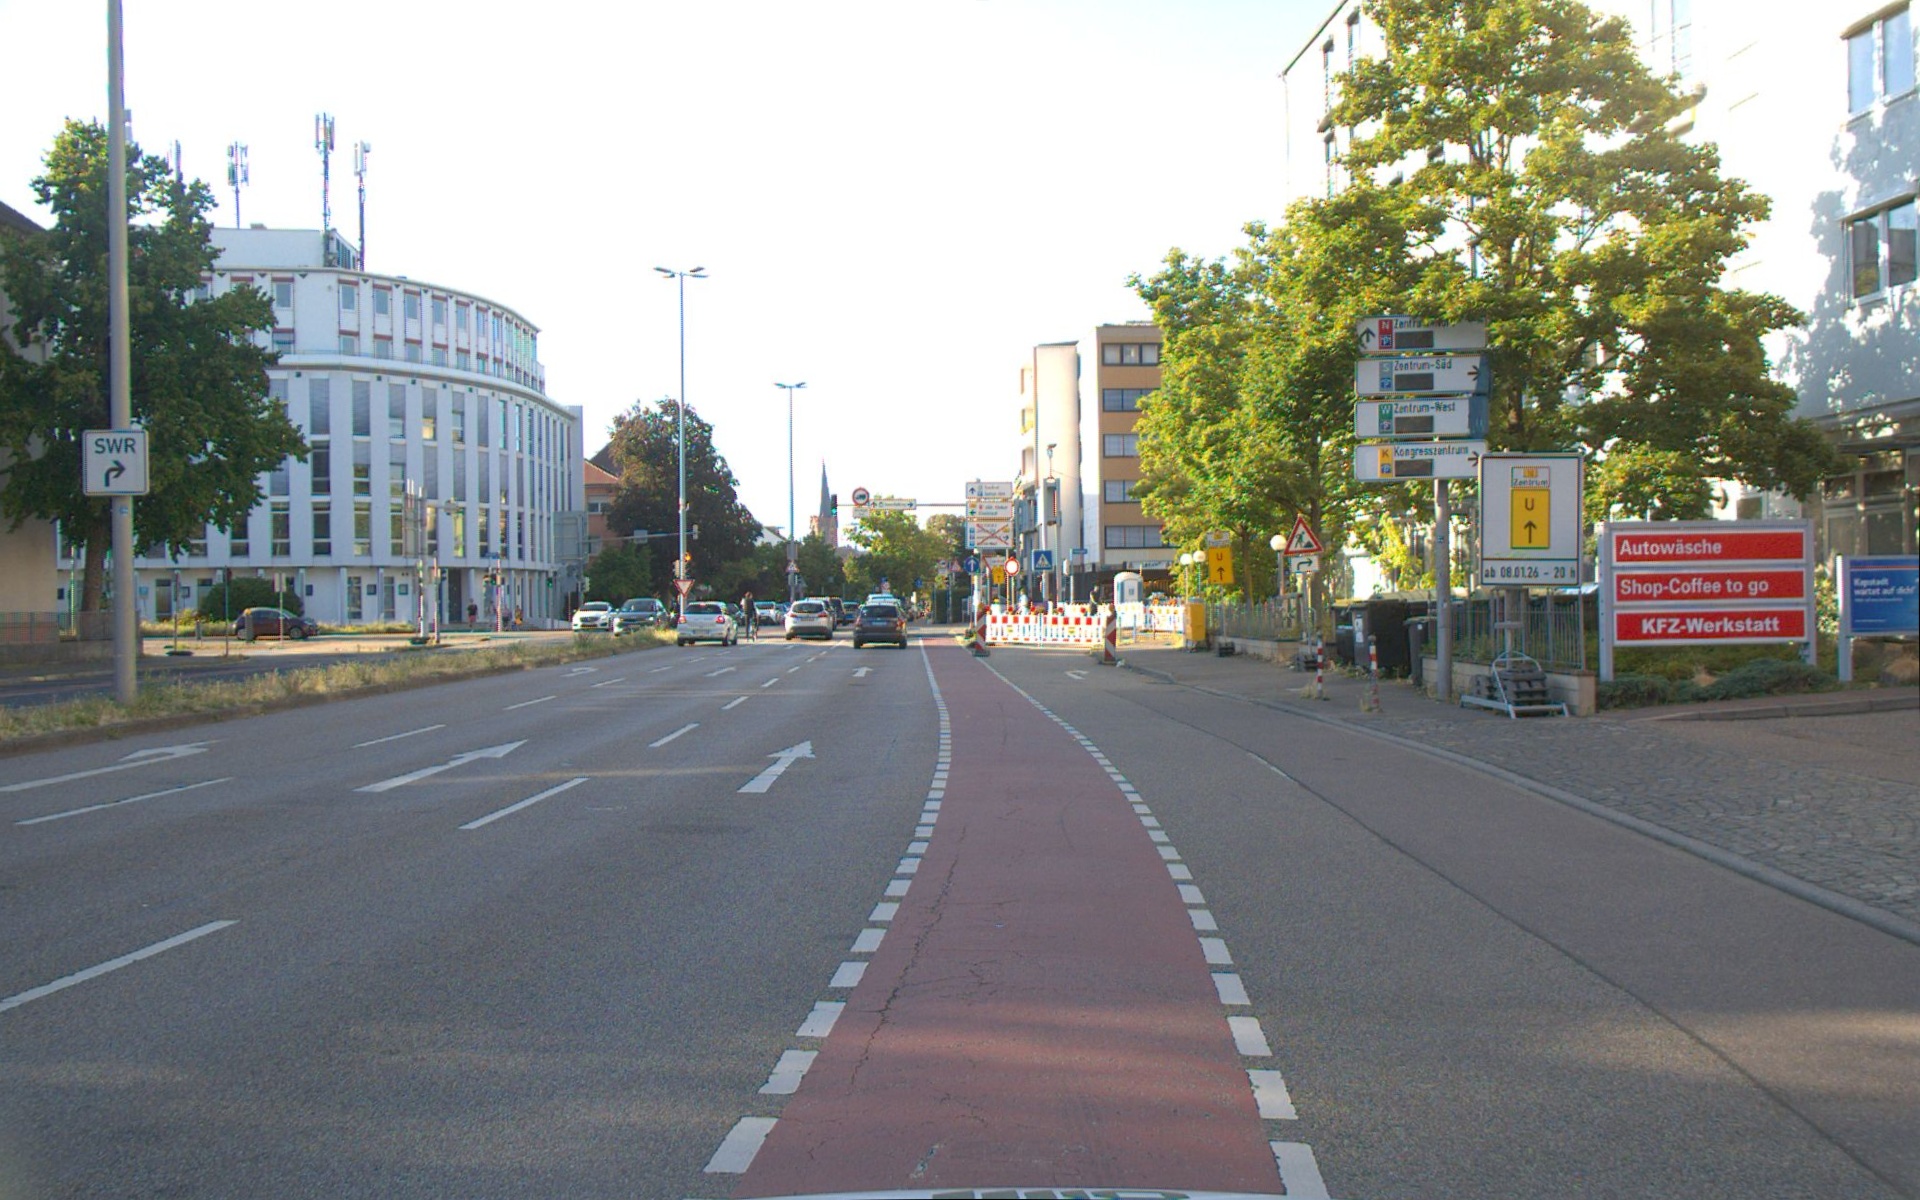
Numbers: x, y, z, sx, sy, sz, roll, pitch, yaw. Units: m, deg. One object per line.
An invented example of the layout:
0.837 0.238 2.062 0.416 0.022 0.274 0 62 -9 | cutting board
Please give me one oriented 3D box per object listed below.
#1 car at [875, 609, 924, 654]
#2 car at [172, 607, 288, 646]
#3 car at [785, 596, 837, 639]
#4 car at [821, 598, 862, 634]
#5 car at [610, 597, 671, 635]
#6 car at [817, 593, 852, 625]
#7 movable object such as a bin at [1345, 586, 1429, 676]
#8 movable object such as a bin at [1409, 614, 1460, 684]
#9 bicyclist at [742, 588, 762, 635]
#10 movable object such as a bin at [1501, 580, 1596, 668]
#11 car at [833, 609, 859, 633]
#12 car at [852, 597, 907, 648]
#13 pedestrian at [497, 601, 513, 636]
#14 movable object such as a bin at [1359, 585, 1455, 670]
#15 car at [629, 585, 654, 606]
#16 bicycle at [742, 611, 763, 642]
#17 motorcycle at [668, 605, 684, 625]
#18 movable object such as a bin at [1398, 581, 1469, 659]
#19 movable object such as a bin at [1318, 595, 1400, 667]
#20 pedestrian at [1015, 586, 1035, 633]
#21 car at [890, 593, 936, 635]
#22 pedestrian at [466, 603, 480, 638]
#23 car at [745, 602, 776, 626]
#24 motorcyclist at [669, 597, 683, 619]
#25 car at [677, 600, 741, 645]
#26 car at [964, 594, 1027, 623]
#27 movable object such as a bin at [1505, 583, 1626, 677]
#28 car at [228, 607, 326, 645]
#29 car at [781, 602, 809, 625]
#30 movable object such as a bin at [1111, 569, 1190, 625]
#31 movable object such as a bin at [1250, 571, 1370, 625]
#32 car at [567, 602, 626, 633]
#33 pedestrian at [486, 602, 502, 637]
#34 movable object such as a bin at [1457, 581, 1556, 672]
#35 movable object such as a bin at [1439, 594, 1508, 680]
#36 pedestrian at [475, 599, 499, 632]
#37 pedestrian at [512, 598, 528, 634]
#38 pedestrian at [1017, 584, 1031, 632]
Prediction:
-2.289 1.180 63.159 1.692 1.606 3.723 -1 0 0 | car
-32.432 1.161 73.528 4.255 1.657 2.000 -1 0 2 | car
-5.747 0.666 64.198 1.713 1.591 4.048 -1 0 -2 | car
-5.487 0.719 77.158 1.713 1.591 4.048 -1 0 -2 | car
-14.101 0.689 73.314 1.954 1.606 4.896 -1 0 -3 | car
-6.845 0.504 90.466 1.631 1.686 3.999 -1 0 -1 | car
7.483 0.558 29.033 1.070 1.534 1.253 -1 -3 -2 | movable object such as a bin
7.358 0.751 25.675 0.606 1.064 0.616 -1 0 0 | movable object such as a bin
-7.807 0.427 62.118 0.677 1.758 0.987 -1 0 -5 | bicyclist
10.249 0.396 28.862 1.170 1.446 1.279 -3 1 0 | movable object such as a bin
-8.274 1.525 120.282 1.631 1.686 3.999 -1 0 -1 | car
-2.618 0.716 54.667 1.713 1.591 4.048 -1 0 -2 | car
-24.545 0.997 89.265 0.647 1.901 0.778 -1 0 -4 | pedestrian
8.304 0.503 30.790 1.303 1.511 1.207 -1 0 -12 | movable object such as a bin
-25.394 -0.325 131.926 1.807 1.599 3.991 -1 0 -9 | car
-7.807 0.972 62.264 0.686 1.119 2.255 -1 0 -5 | bicycle
-18.598 0.960 108.367 0.755 1.307 2.840 -1 0 -4 | motorcycle
9.404 0.399 32.880 1.081 1.511 0.956 -1 0 -3 | movable object such as a bin
7.899 0.600 32.774 1.194 1.367 1.050 -1 0 -18 | movable object such as a bin
2.582 0.383 65.746 0.725 1.831 0.715 -1 0 2 | pedestrian
-1.984 0.571 68.453 1.783 1.668 3.997 -1 0 -3 | car
-26.421 1.104 89.726 0.649 1.891 0.775 -1 0 -14 | pedestrian
-12.833 0.909 106.676 1.811 1.487 4.045 -1 0 -5 | car
-18.625 0.526 108.533 0.755 1.444 1.237 -1 0 -4 | motorcyclist
-8.595 0.751 56.959 1.650 1.482 3.999 0 0 -1 | car
2.469 0.570 115.586 4.277 1.910 1.998 -1 0 -4 | car
9.573 0.467 26.186 1.576 1.435 0.864 -1 0 -4 | movable object such as a bin
-31.450 1.211 76.219 3.735 1.557 1.861 -2 -2 -6 | car
-11.193 0.897 112.398 1.811 1.487 4.045 -1 0 -5 | car
8.460 -0.120 73.717 3.262 2.425 1.528 -1 0 -3 | movable object such as a bin
17.130 -0.085 81.069 5.245 2.534 2.546 -1 0 -5 | movable object such as a bin
-18.034 0.858 82.243 1.953 1.438 4.442 -2 0 -1 | car
-25.399 1.041 90.093 0.745 1.874 0.816 -1 0 -12 | pedestrian
9.406 0.437 28.514 1.281 1.458 1.280 -2 1 3 | movable object such as a bin
8.094 0.575 26.110 0.762 1.331 0.864 -1 0 -3 | movable object such as a bin
-29.556 0.965 103.305 1.068 2.049 1.036 -1 0 8 | pedestrian
-23.793 0.874 89.427 0.614 1.901 1.126 -1 0 -6 | pedestrian
2.584 0.323 66.520 0.510 1.901 0.614 -1 0 1 | pedestrian
